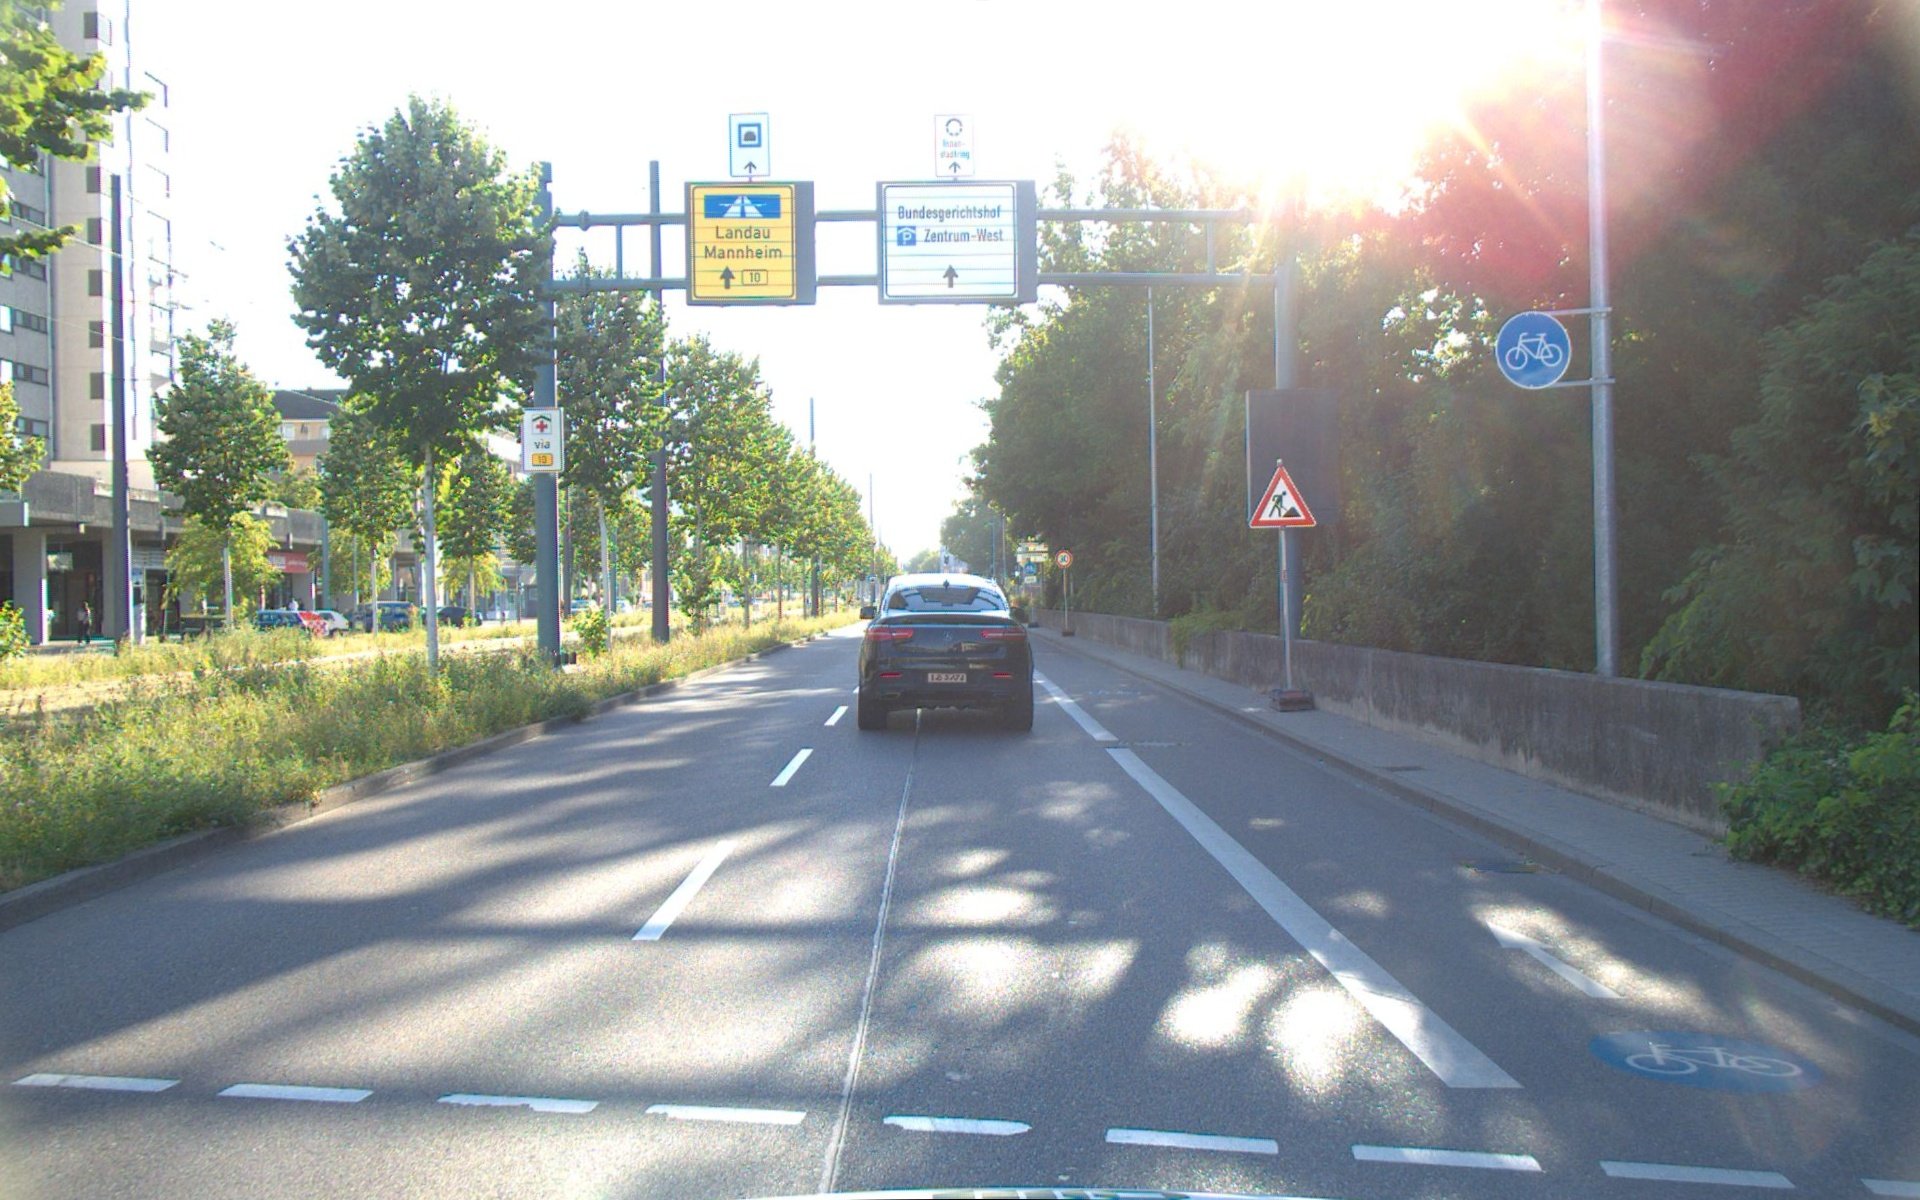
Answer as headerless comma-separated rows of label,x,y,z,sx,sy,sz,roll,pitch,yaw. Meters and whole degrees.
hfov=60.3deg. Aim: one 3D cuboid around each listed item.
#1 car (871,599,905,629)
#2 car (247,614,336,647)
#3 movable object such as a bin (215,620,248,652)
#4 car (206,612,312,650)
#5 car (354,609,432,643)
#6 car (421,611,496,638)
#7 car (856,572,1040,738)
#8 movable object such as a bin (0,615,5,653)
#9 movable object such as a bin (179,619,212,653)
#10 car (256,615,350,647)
car,-4.035,0.768,93.149,1.847,1.608,3.999,0,1,-2
car,-31.719,1.448,78.521,3.594,1.550,1.596,1,-1,-42
movable object such as a bin,-30.705,1.517,69.729,0.839,1.303,0.940,-1,0,13
car,-31.708,1.428,74.831,4.061,1.629,1.723,2,0,-42
car,-31.472,1.415,91.887,3.725,1.861,1.798,0,0,-41
car,-30.883,1.483,101.911,3.967,1.590,1.969,0,0,-43
car,-0.135,0.577,19.650,1.953,1.765,4.000,0,0,0
movable object such as a bin,-38.172,1.344,64.735,0.784,1.465,1.402,-1,0,-1
movable object such as a bin,-32.060,1.512,69.383,0.839,1.381,0.940,-1,0,13
car,-32.184,1.514,81.082,1.754,1.478,3.977,0,0,41
